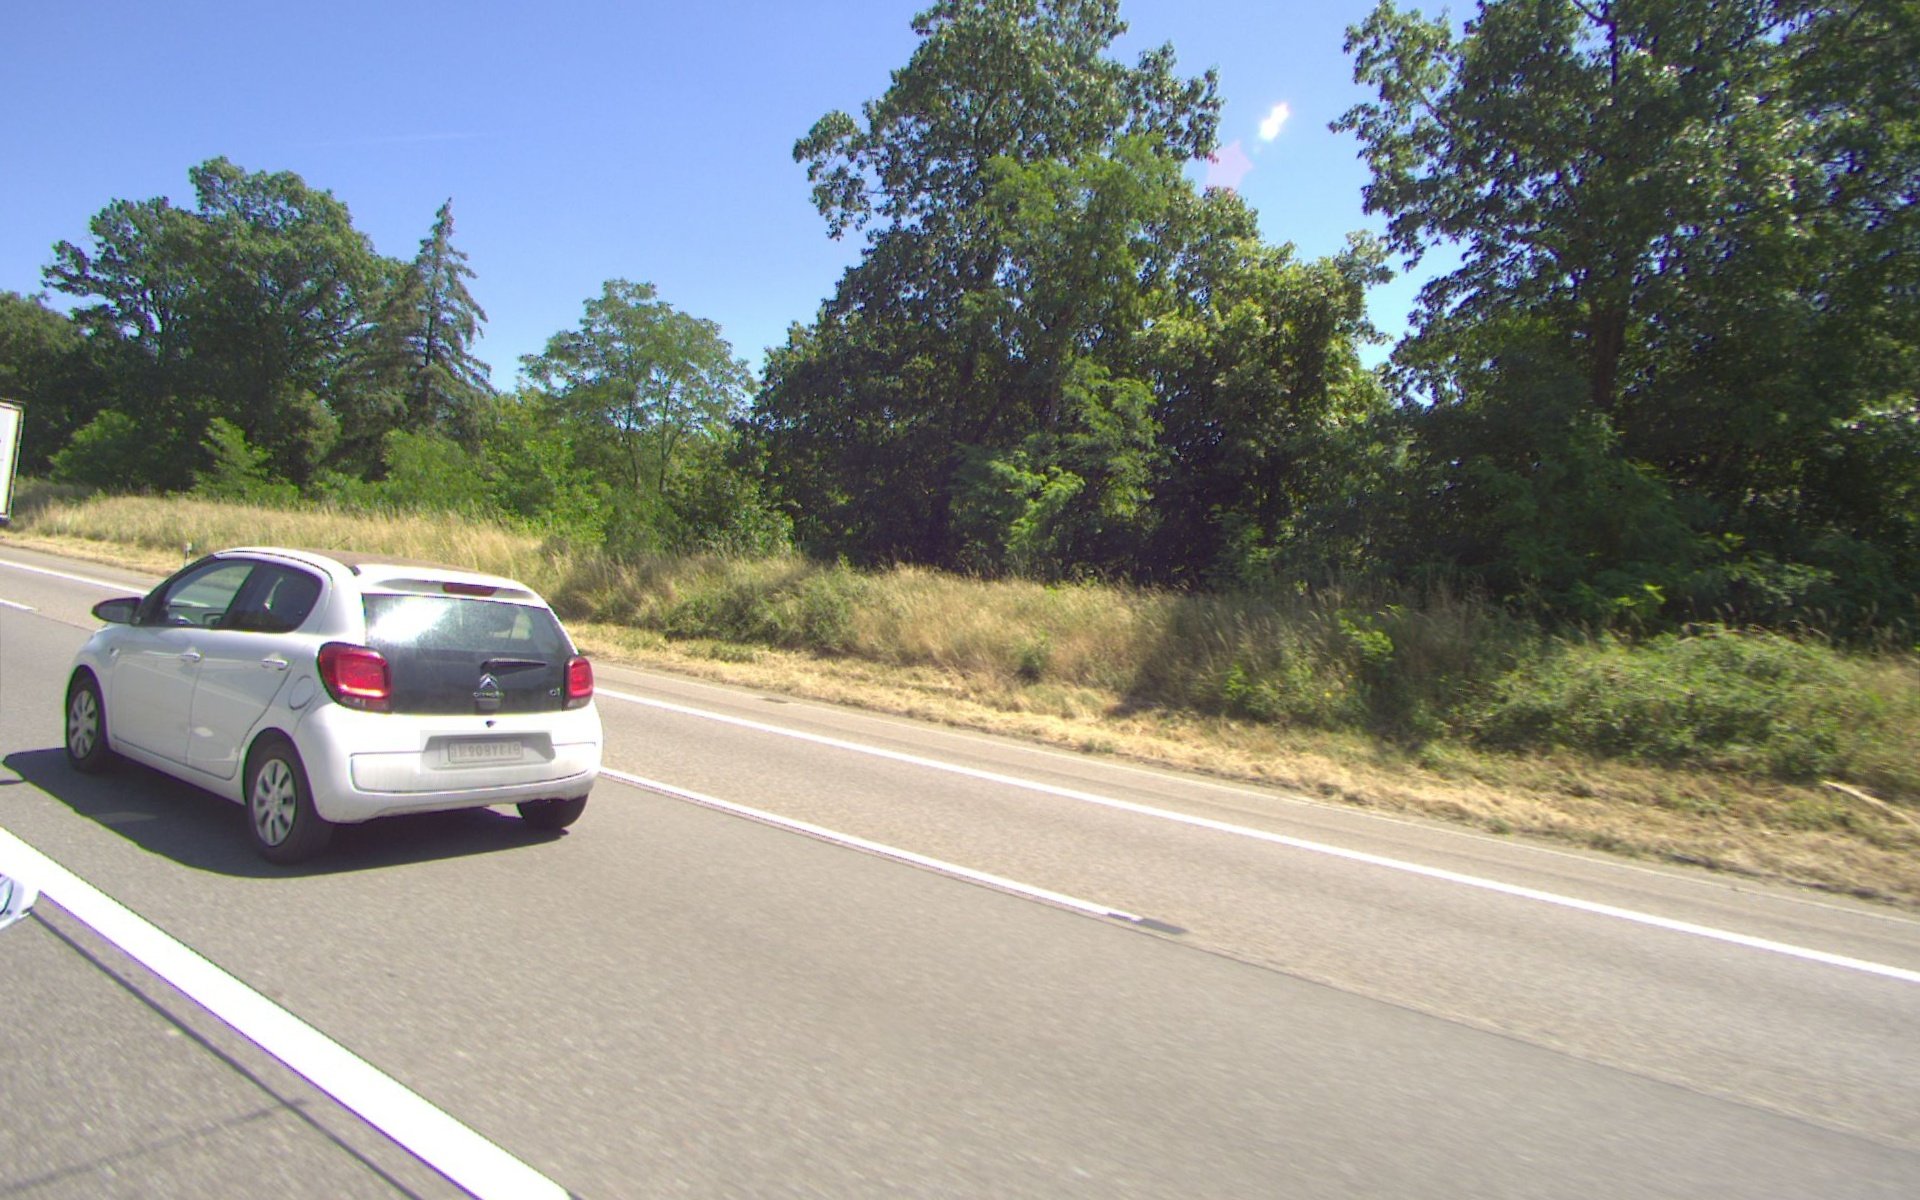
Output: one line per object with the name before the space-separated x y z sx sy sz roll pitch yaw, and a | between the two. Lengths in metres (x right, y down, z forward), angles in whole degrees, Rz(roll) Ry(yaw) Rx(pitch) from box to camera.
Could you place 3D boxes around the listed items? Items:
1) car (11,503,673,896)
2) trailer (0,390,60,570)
car | -3.824 0.398 6.049 3.958 1.513 1.711 6 -1 32
trailer | -29.394 -3.613 27.442 13.341 4.268 3.292 6 -2 32
